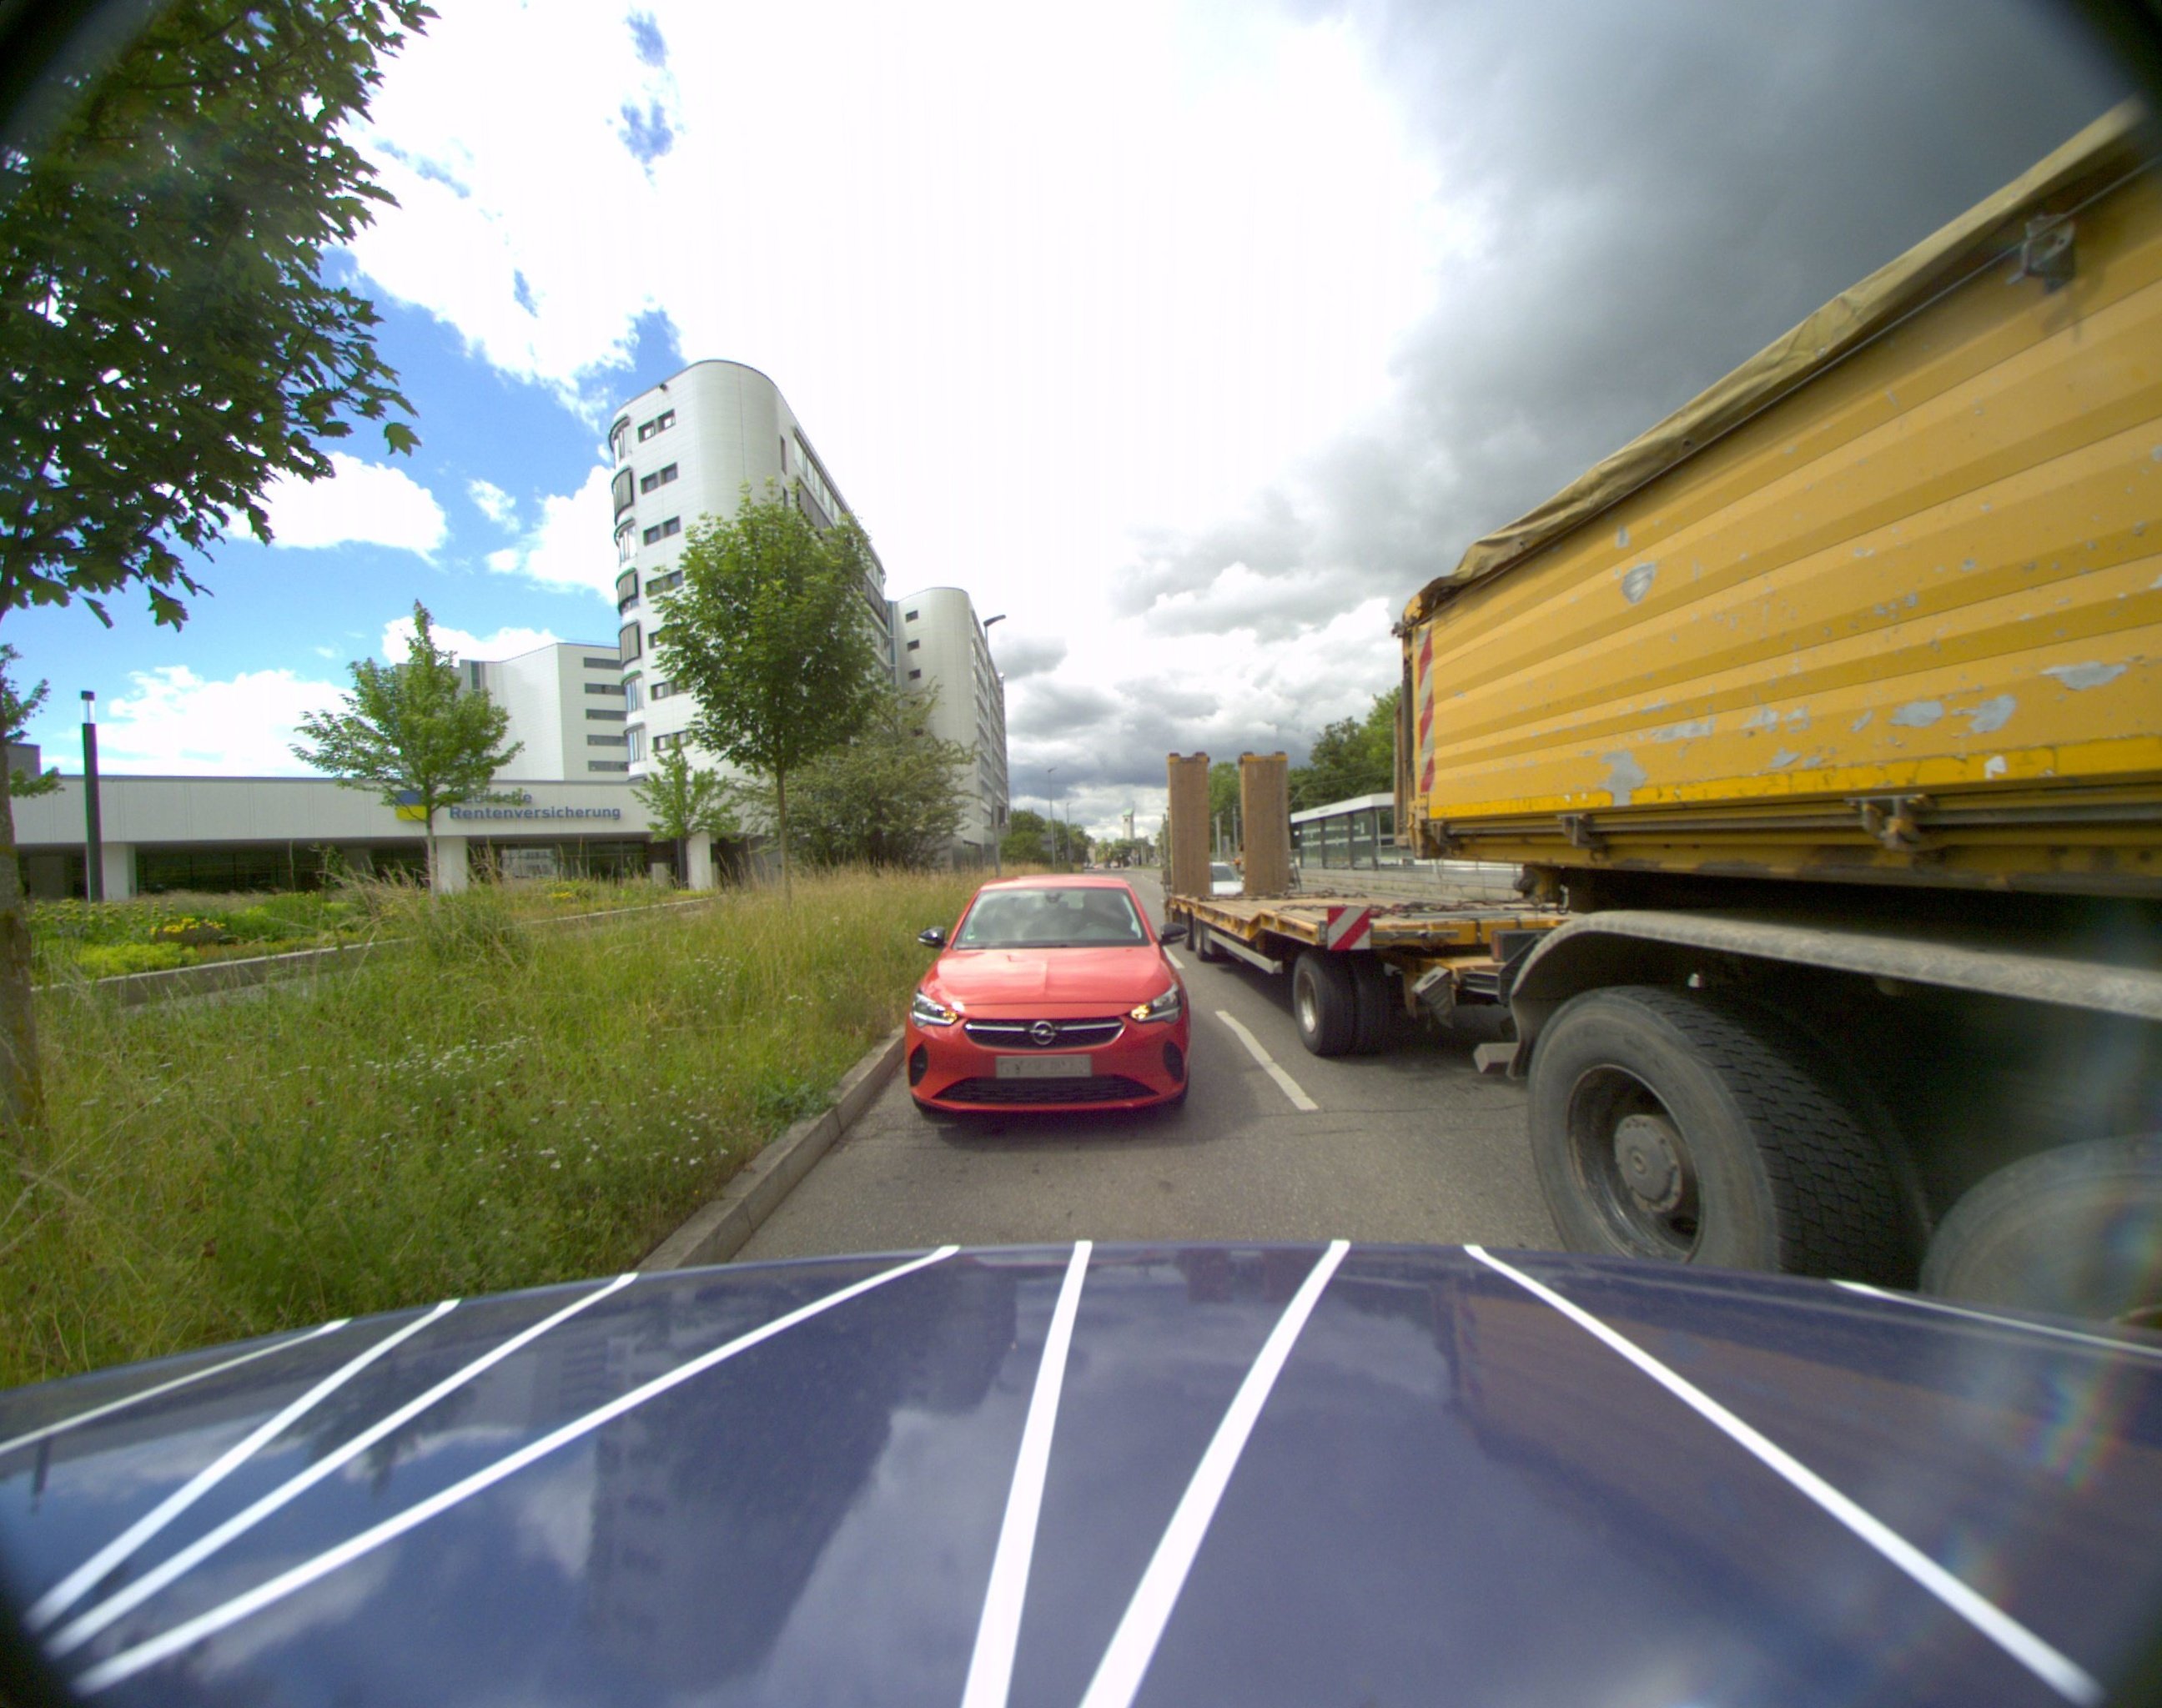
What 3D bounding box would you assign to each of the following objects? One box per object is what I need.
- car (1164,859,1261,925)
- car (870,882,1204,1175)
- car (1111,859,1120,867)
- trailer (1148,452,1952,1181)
[{"bbox_3d":[3.170,0.876,19.026,1.784,1.408,3.785,-2,0,1],"label":"car"},{"bbox_3d":[-0.204,0.992,5.858,1.749,1.408,3.676,-1,0,1],"label":"car"},{"bbox_3d":[8.624,2.279,190.020,1.998,1.805,4.000,-2,0,1],"label":"car"},{"bbox_3d":[2.936,-0.171,9.429,3.057,3.676,10.965,-2,0,0],"label":"trailer"}]
